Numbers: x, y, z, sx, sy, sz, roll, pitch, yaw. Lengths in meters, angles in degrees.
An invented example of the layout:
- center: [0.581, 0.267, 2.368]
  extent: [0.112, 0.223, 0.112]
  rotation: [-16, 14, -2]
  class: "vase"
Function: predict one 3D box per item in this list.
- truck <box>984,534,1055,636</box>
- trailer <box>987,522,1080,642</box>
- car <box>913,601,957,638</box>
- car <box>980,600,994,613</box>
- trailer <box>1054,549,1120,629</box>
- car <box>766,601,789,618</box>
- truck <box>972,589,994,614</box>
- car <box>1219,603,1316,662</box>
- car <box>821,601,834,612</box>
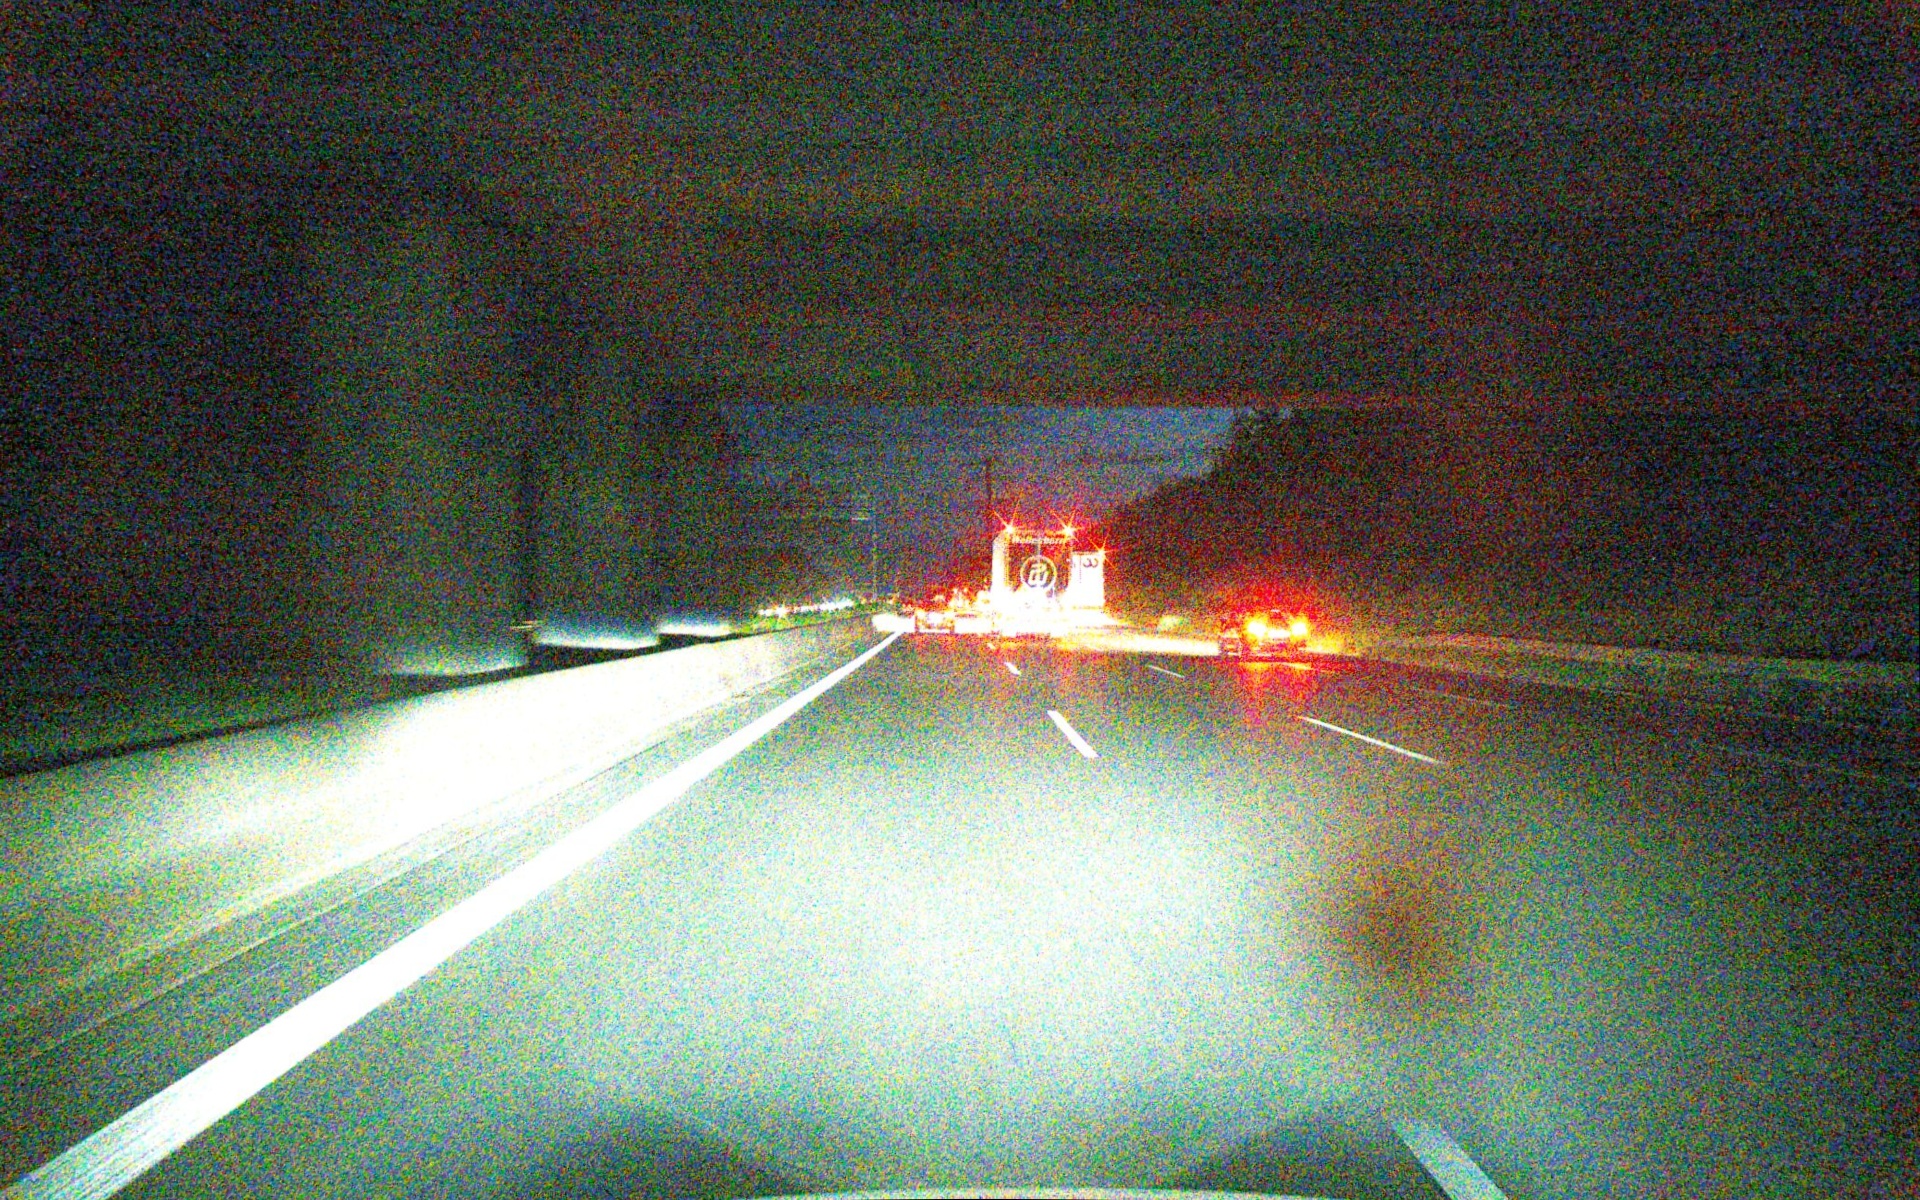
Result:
- center: [2.572, -0.625, 73.455]
  extent: [2.608, 4.280, 6.720]
  rotation: [1, 0, -2]
  class: "truck"
- center: [2.781, -0.657, 66.668]
  extent: [2.687, 4.280, 13.505]
  rotation: [1, 0, -2]
  class: "trailer"
- center: [-1.105, 0.807, 71.147]
  extent: [1.784, 1.492, 4.245]
  rotation: [1, 0, -2]
  class: "car"
- center: [2.968, 0.738, 183.553]
  extent: [1.319, 1.411, 3.500]
  rotation: [1, 0, -2]
  class: "car"
- center: [6.923, -0.578, 91.610]
  extent: [2.539, 4.144, 10.005]
  rotation: [1, 0, -2]
  class: "trailer"
- center: [-17.101, 0.895, 155.173]
  extent: [1.784, 1.491, 4.558]
  rotation: [-4, 0, -2]
  class: "car"
- center: [2.868, 0.227, 208.755]
  extent: [2.036, 2.738, 7.300]
  rotation: [1, -3, -4]
  class: "truck"
- center: [8.409, 0.856, 45.594]
  extent: [1.784, 1.492, 4.246]
  rotation: [1, 0, -1]
  class: "car"
- center: [-19.536, 0.966, 244.157]
  extent: [1.715, 1.504, 4.941]
  rotation: [-2, 0, -2]
  class: "car"
